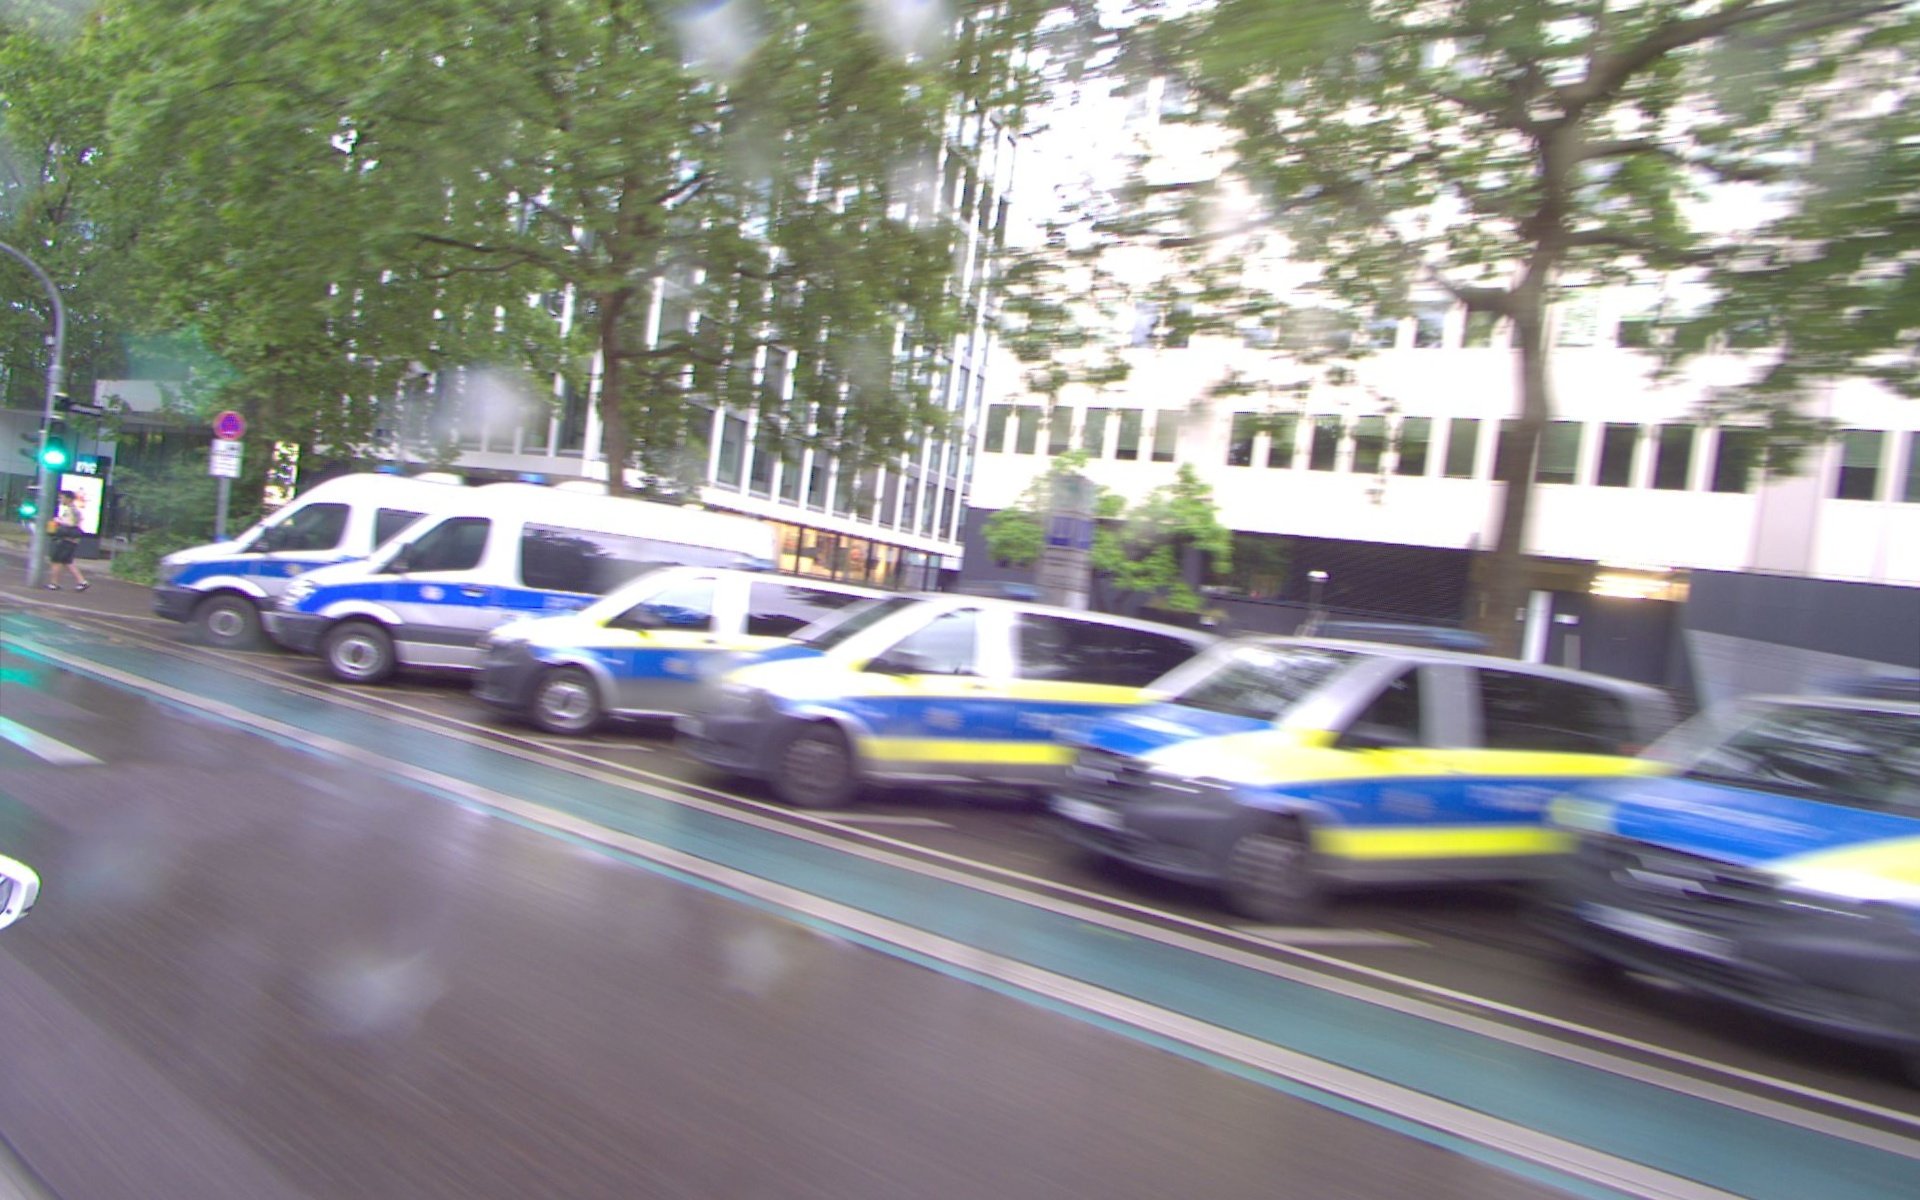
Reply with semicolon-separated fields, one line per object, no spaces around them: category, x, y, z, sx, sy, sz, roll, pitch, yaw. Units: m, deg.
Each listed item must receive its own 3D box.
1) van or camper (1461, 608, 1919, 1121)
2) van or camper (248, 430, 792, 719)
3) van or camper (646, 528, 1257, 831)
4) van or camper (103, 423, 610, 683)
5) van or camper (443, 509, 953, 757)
van or camper;5.848;1.416;6.027;5.038;2.049;2.096;8;-1;-21
van or camper;-5.342;-0.168;12.967;5.737;2.713;1.989;7;0;-24
van or camper;-0.023;0.812;9.337;5.145;2.015;1.989;9;-2;-24
van or camper;-8.283;-0.521;14.626;5.738;2.709;2.137;8;-1;-22
van or camper;-2.822;0.453;11.263;4.951;2.037;1.990;7;-2;-23
